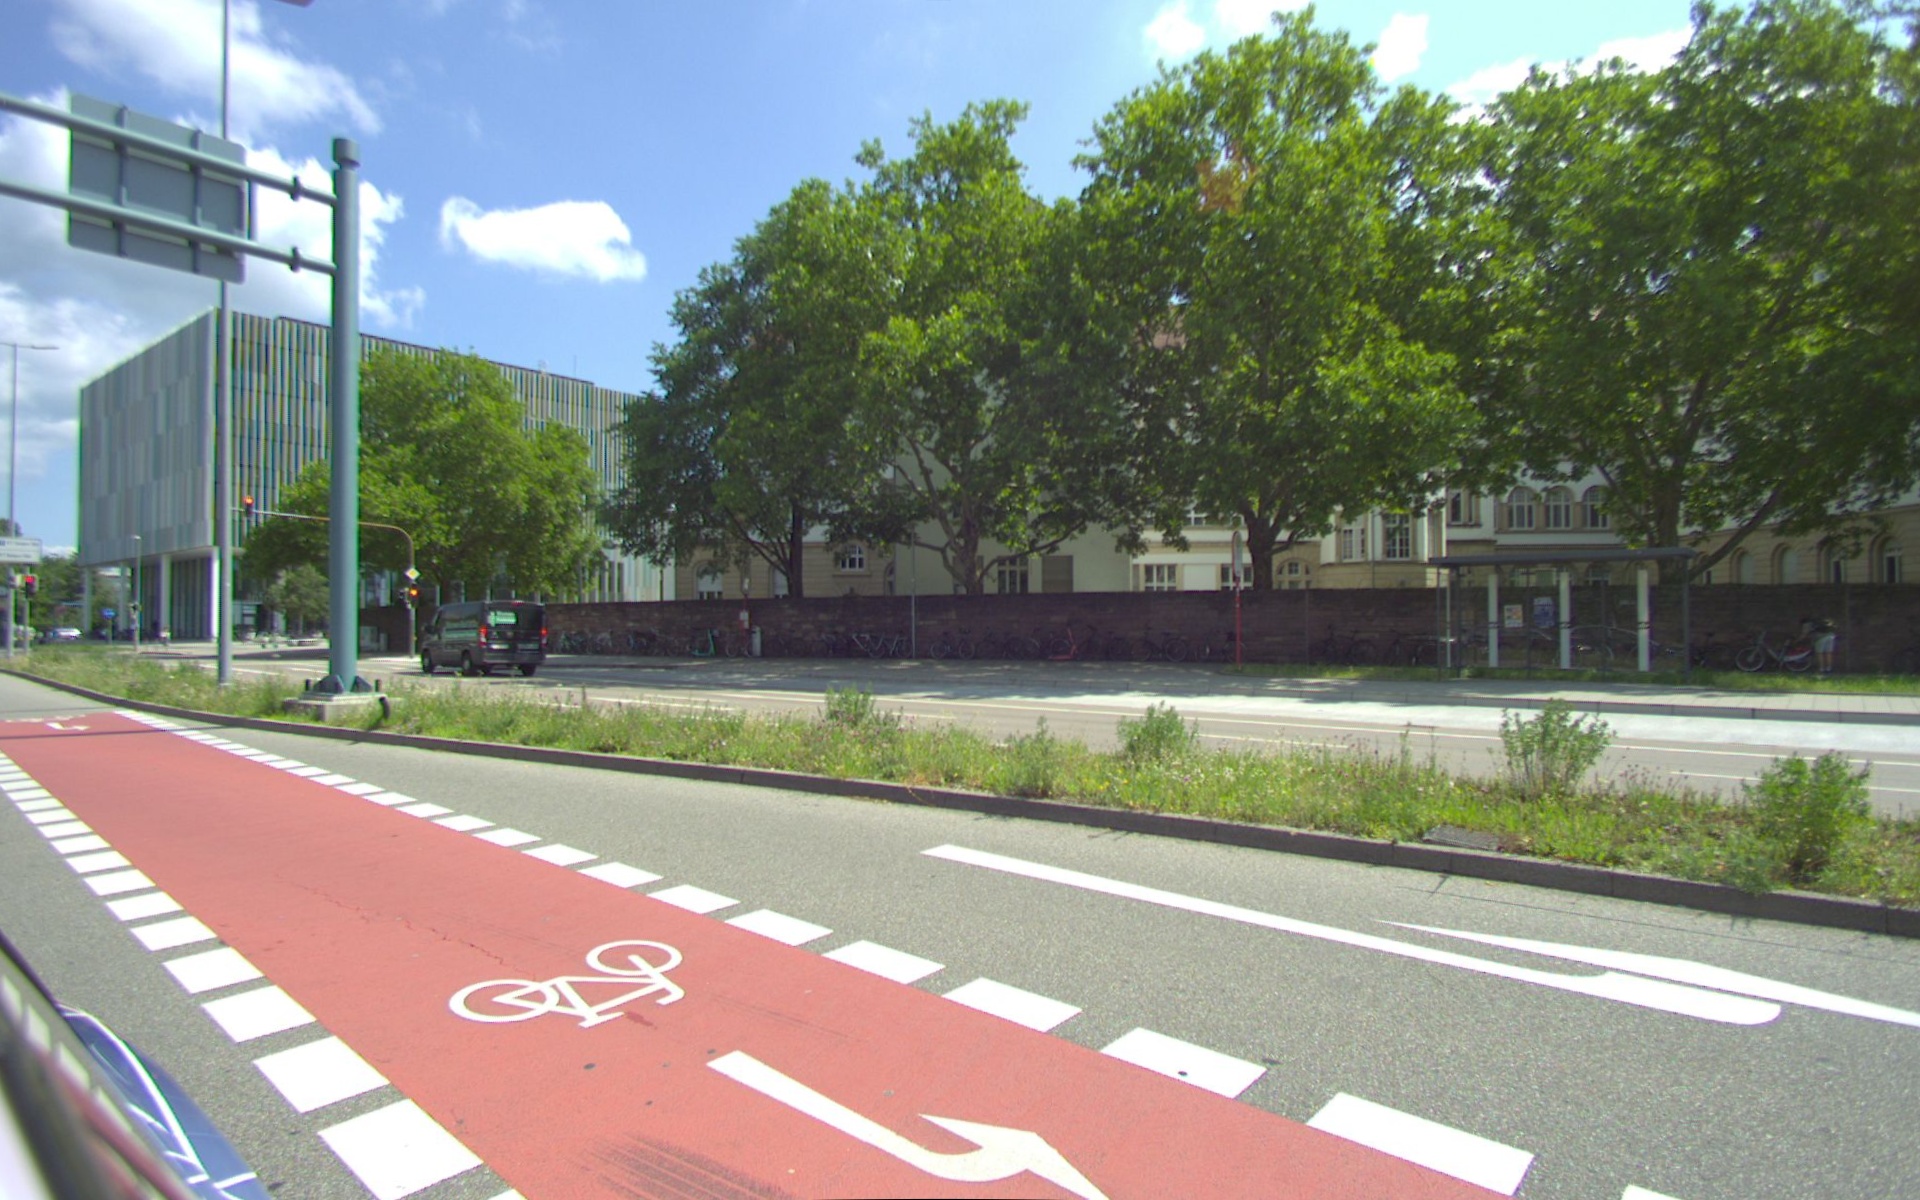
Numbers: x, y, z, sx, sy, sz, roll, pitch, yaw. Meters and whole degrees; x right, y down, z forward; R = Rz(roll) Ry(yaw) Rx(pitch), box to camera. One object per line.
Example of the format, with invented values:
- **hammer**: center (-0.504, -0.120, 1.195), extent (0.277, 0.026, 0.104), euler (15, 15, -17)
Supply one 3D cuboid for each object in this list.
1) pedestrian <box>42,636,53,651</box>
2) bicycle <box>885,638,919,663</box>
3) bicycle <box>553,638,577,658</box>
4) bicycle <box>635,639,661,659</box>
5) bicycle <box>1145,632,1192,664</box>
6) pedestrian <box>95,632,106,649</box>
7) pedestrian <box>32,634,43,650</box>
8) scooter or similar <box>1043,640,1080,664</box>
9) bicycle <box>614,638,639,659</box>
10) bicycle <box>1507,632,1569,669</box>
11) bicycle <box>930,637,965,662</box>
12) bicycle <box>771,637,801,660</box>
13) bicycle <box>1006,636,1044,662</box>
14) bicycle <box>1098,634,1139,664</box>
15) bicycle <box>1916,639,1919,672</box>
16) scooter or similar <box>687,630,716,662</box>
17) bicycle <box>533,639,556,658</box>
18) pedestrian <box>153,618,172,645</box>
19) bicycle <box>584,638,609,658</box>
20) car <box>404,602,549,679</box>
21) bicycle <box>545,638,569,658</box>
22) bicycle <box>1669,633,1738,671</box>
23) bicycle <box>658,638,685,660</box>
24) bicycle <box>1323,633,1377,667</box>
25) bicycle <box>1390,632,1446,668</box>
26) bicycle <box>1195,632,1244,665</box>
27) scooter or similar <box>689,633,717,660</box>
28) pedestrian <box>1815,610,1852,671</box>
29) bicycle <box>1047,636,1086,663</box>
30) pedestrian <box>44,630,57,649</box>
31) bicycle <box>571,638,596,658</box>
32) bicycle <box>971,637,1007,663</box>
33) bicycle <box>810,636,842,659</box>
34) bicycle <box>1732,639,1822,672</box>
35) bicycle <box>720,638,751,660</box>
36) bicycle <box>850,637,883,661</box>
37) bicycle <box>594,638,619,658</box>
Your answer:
- **pedestrian**: center (-88.846, 4.245, 98.535), extent (0.686, 1.464, 0.689), euler (1, -3, -45)
- **bicycle**: center (-2.015, 1.748, 35.115), extent (1.231, 0.837, 0.262), euler (-1, -2, 30)
- **bicycle**: center (-17.406, 2.109, 44.559), extent (1.230, 0.837, 0.262), euler (-1, -2, 29)
- **bicycle**: center (-12.808, 2.007, 41.528), extent (1.231, 0.837, 0.262), euler (-2, -2, 30)
- **bicycle**: center (6.401, 1.474, 31.037), extent (1.385, 0.972, 0.263), euler (-1, -2, 20)
- **pedestrian**: center (-75.930, 3.564, 89.402), extent (0.686, 1.464, 0.689), euler (1, -2, -44)
- **pedestrian**: center (-85.067, 3.895, 93.333), extent (0.686, 1.464, 0.689), euler (1, -3, -45)
- **scooter or similar**: center (3.178, 1.626, 31.807), extent (1.133, 0.734, 0.264), euler (-1, -2, 18)
- **bicycle**: center (-13.902, 2.024, 42.186), extent (1.231, 0.837, 0.262), euler (-2, -2, 30)
- **bicycle**: center (15.630, 1.366, 27.387), extent (1.384, 0.972, 0.263), euler (-1, -2, 18)
- **bicycle**: center (-0.431, 1.686, 34.276), extent (1.230, 0.837, 0.262), euler (-1, -2, 28)
- **bicycle**: center (-6.470, 1.807, 37.565), extent (1.231, 0.837, 0.262), euler (-1, -2, 30)
- **bicycle**: center (2.132, 1.608, 33.068), extent (1.230, 0.837, 0.262), euler (-1, -2, 28)
- **bicycle**: center (4.945, 1.520, 31.594), extent (1.230, 0.915, 0.262), euler (-1, -2, 28)
- **bicycle**: center (24.441, 1.354, 24.601), extent (1.734, 0.823, 0.382), euler (-1, -2, 18)
- **scooter or similar**: center (-9.939, 1.756, 38.847), extent (1.230, 1.199, 0.262), euler (-1, -2, 29)
- **bicycle**: center (-18.595, 2.160, 45.309), extent (1.230, 0.837, 0.262), euler (-1, -2, 29)
- **pedestrian**: center (-59.411, 2.356, 75.389), extent (0.994, 2.029, 0.853), euler (-2, -2, 39)
- **bicycle**: center (-15.313, 2.002, 42.588), extent (1.230, 0.837, 0.262), euler (-1, -2, 29)
- **car**: center (-14.967, 1.278, 31.215), extent (5.014, 2.192, 2.126), euler (-2, -4, 40)
- **bicycle**: center (-17.489, 2.092, 43.951), extent (1.230, 0.837, 0.262), euler (-1, -2, 29)
- **bicycle**: center (19.232, 1.343, 26.194), extent (1.384, 0.972, 0.263), euler (-1, -2, 18)
- **bicycle**: center (-11.570, 1.964, 40.575), extent (1.231, 0.837, 0.262), euler (-2, -2, 30)
- **bicycle**: center (11.179, 1.424, 29.031), extent (1.384, 0.972, 0.263), euler (-1, -2, 18)
- **bicycle**: center (12.864, 1.402, 28.418), extent (1.384, 0.972, 0.263), euler (-1, -2, 18)
- **bicycle**: center (7.806, 1.467, 30.415), extent (1.389, 0.972, 0.262), euler (-1, -2, 28)
- **scooter or similar**: center (-10.144, 1.840, 39.919), extent (1.133, 1.028, 0.264), euler (-1, -2, 19)
- **pedestrian**: center (21.423, 0.988, 24.820), extent (0.633, 1.484, 0.504), euler (-2, -2, 39)
- **bicycle**: center (3.409, 1.591, 32.456), extent (1.230, 0.837, 0.262), euler (-1, -2, 28)
- **pedestrian**: center (-84.014, 3.676, 93.484), extent (0.705, 1.704, 0.783), euler (-2, -2, 42)
- **bicycle**: center (-16.266, 2.080, 43.724), extent (1.231, 0.837, 0.262), euler (-2, -2, 30)
- **bicycle**: center (0.960, 1.662, 33.717), extent (1.230, 0.837, 0.262), euler (-1, -2, 28)
- **bicycle**: center (-4.890, 1.739, 36.856), extent (1.231, 0.837, 0.262), euler (-1, -2, 30)
- **bicycle**: center (20.744, 1.403, 25.720), extent (1.734, 0.823, 0.327), euler (-1, -2, 18)
- **bicycle**: center (-8.646, 1.884, 38.949), extent (1.226, 0.837, 0.263), euler (-1, -2, 19)
- **bicycle**: center (-3.317, 1.751, 35.919), extent (1.231, 0.837, 0.262), euler (-1, -2, 30)
- **bicycle**: center (-14.983, 2.014, 42.879), extent (1.231, 0.837, 0.262), euler (-2, -2, 30)
